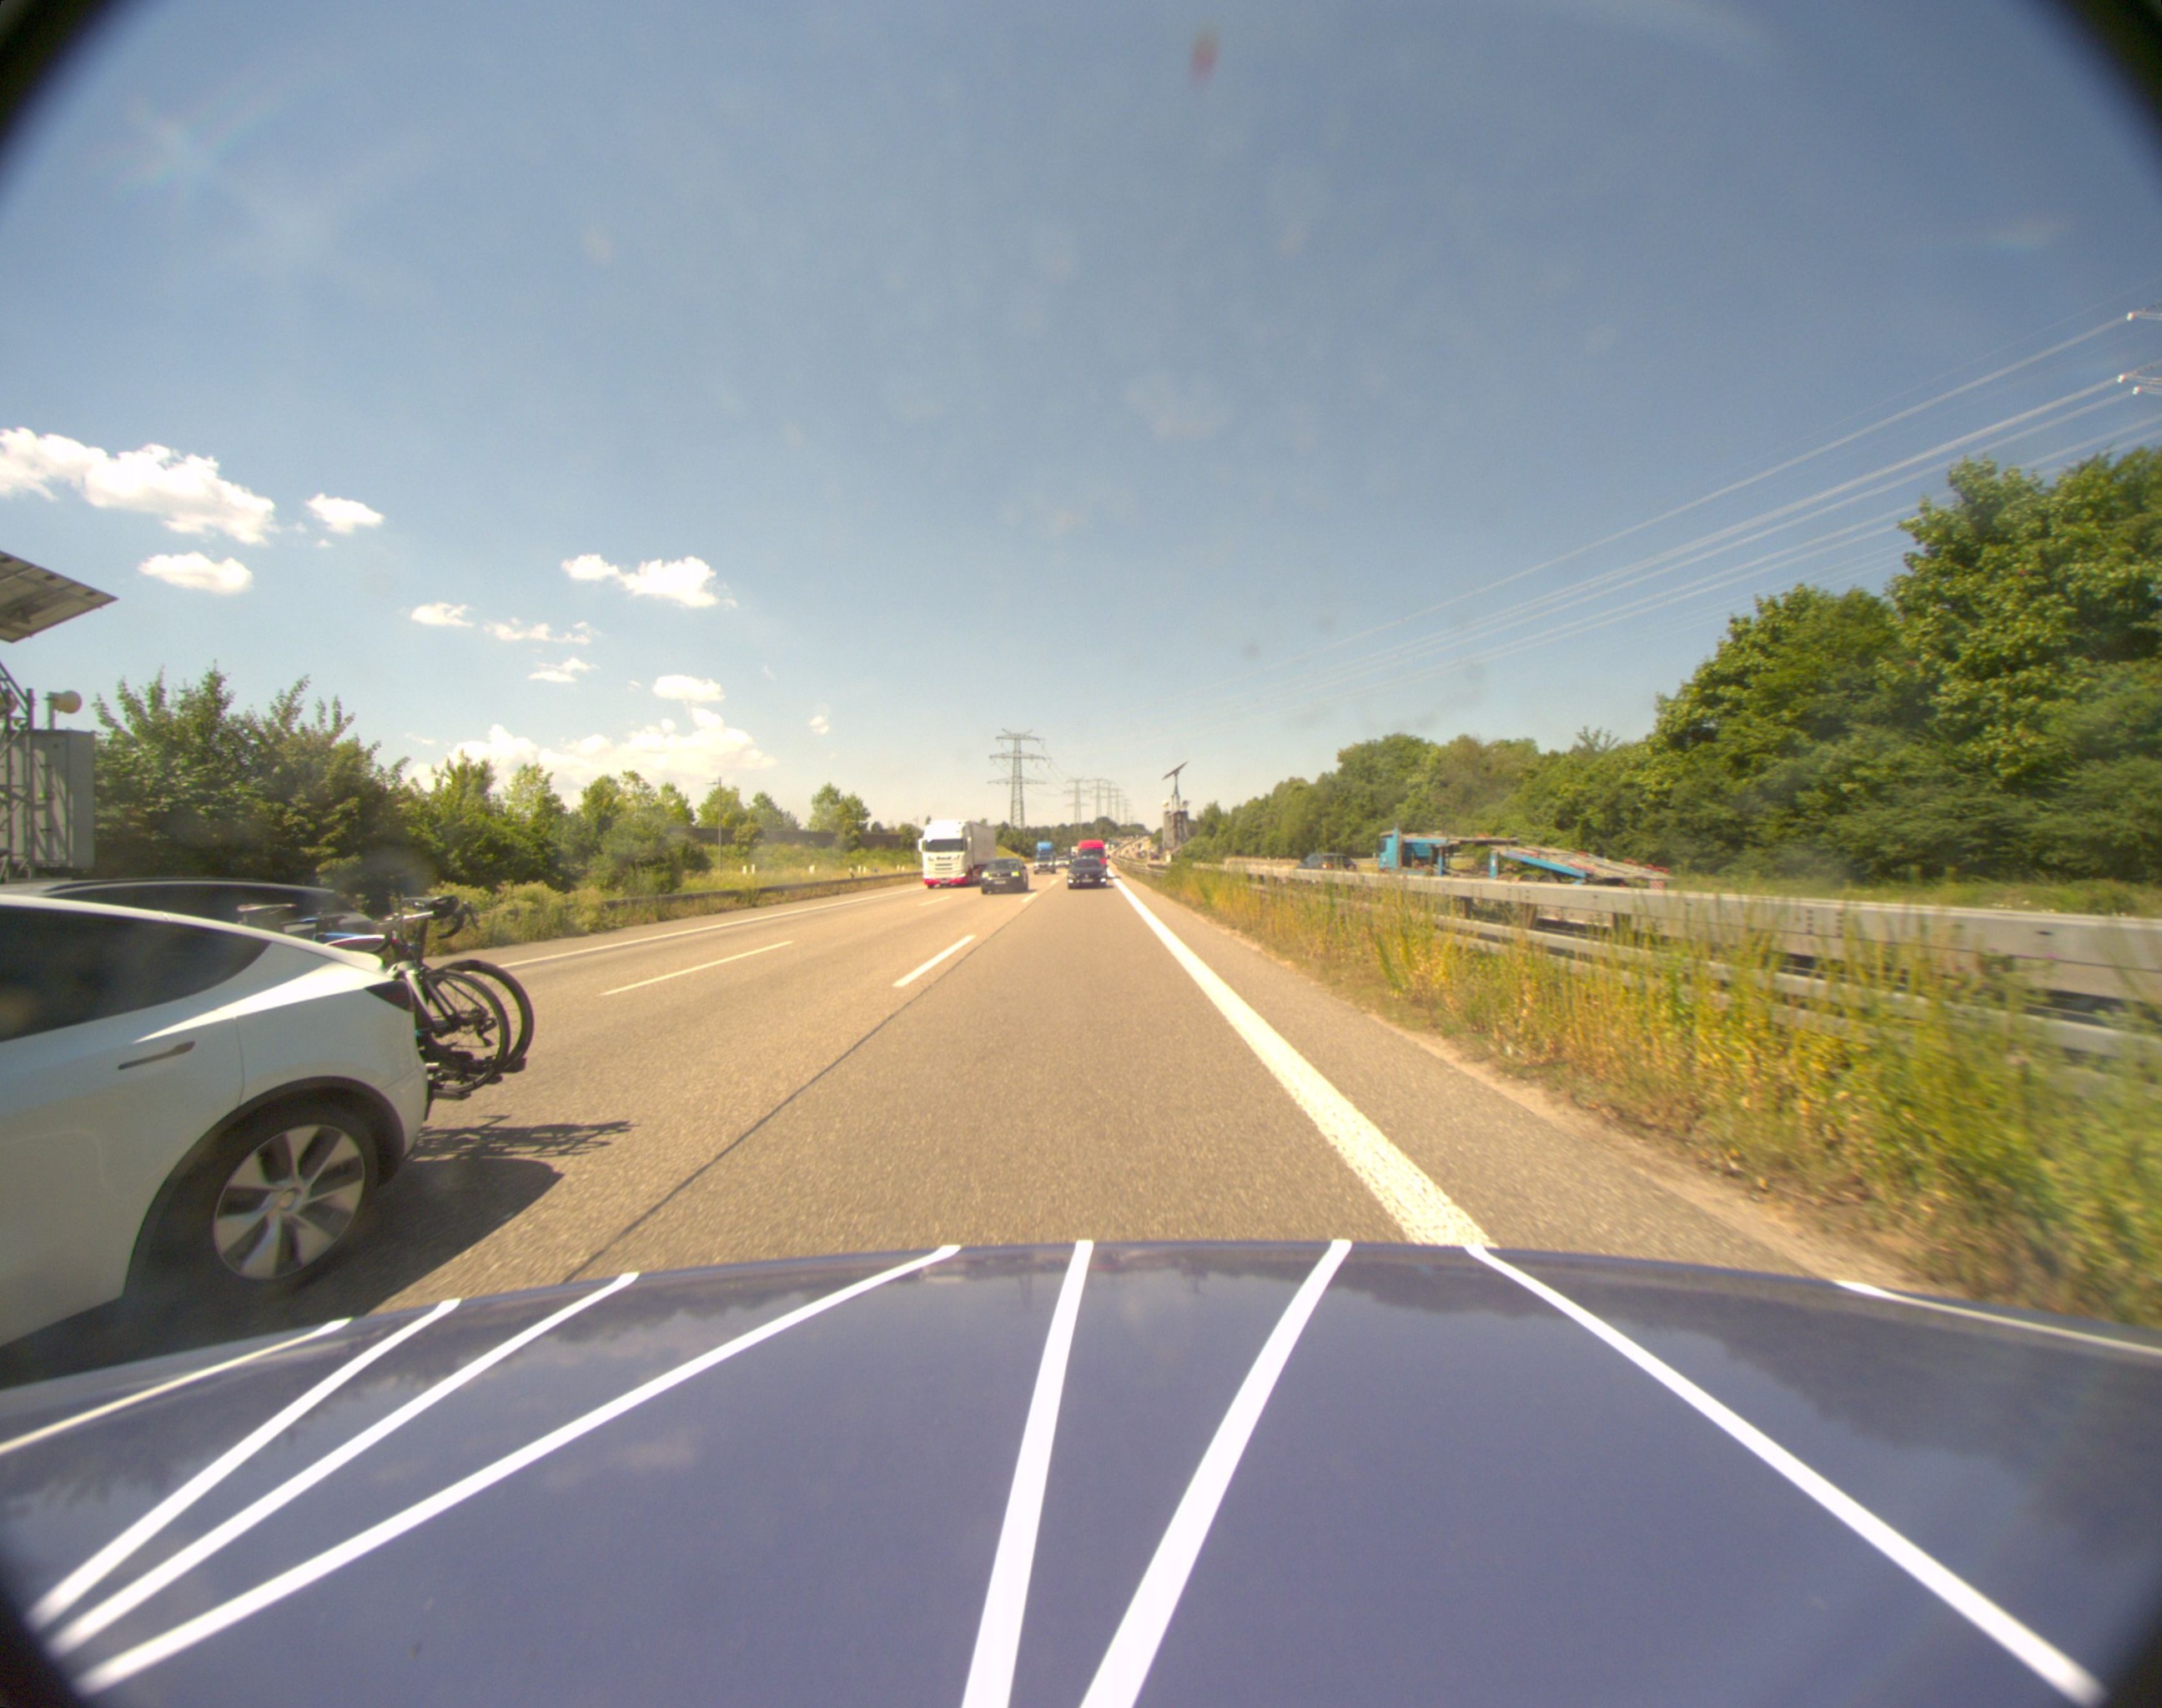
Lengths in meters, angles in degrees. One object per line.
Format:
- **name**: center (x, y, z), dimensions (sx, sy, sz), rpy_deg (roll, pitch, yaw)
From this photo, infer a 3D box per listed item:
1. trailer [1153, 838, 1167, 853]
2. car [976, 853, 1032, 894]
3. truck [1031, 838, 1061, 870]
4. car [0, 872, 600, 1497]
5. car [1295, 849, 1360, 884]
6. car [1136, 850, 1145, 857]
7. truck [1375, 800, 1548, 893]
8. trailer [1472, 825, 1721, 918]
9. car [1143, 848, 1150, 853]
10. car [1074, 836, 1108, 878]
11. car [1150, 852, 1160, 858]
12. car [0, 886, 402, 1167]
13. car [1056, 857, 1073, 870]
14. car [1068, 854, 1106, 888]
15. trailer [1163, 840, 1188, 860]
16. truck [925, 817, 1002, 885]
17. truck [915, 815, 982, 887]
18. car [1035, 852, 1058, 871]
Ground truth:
- **trailer**: center (22.880, -2.367, 220.316), dimensions (3.182, 4.316, 13.814), rpy_deg (-1, 0, 3)
- **car**: center (-3.455, 0.855, 34.949), dimensions (1.955, 1.636, 4.047), rpy_deg (-3, 1, 2)
- **truck**: center (-5.942, -0.059, 131.758), dimensions (3.797, 4.971, 14.924), rpy_deg (-2, 1, 2)
- **car**: center (-3.960, 0.986, 1.834), dimensions (1.955, 1.627, 5.600), rpy_deg (-2, 0, 0)
- **car**: center (12.364, 0.577, 38.481), dimensions (1.728, 1.647, 4.860), rpy_deg (1, 0, 0)
- **car**: center (12.822, -0.125, 163.639), dimensions (1.728, 1.517, 4.000), rpy_deg (0, 0, 1)
- **truck**: center (17.688, -0.350, 36.528), dimensions (3.003, 3.780, 10.788), rpy_deg (-1, 0, 1)
- **trailer**: center (17.501, 0.482, 26.845), dimensions (3.153, 2.624, 8.531), rpy_deg (-2, 1, 2)
- **car**: center (19.653, -1.089, 226.818), dimensions (1.786, 1.522, 3.883), rpy_deg (2, 1, 1)
- **car**: center (0.704, 0.179, 49.589), dimensions (2.100, 2.598, 4.496), rpy_deg (0, 1, 2)
- **car**: center (17.132, 0.177, 175.553), dimensions (1.774, 1.326, 4.921), rpy_deg (-1, 0, 1)
- **car**: center (-7.737, 1.188, 5.235), dimensions (1.873, 1.627, 4.585), rpy_deg (-2, 1, 1)
- **car**: center (-2.130, 1.201, 98.553), dimensions (1.878, 1.591, 3.688), rpy_deg (0, 1, 2)
- **car**: center (0.341, 0.763, 36.592), dimensions (1.735, 1.535, 3.750), rpy_deg (0, 1, 2)
- **trailer**: center (17.870, -0.770, 144.426), dimensions (3.003, 3.538, 16.022), rpy_deg (-1, 0, 1)
- **truck**: center (-7.605, -0.205, 51.167), dimensions (3.076, 3.885, 12.502), rpy_deg (-2, 0, 0)
- **truck**: center (-7.588, -0.169, 44.052), dimensions (3.076, 3.885, 3.847), rpy_deg (-2, 1, 0)
- **car**: center (-3.096, 0.640, 69.717), dimensions (1.749, 1.691, 4.089), rpy_deg (0, 1, 2)
